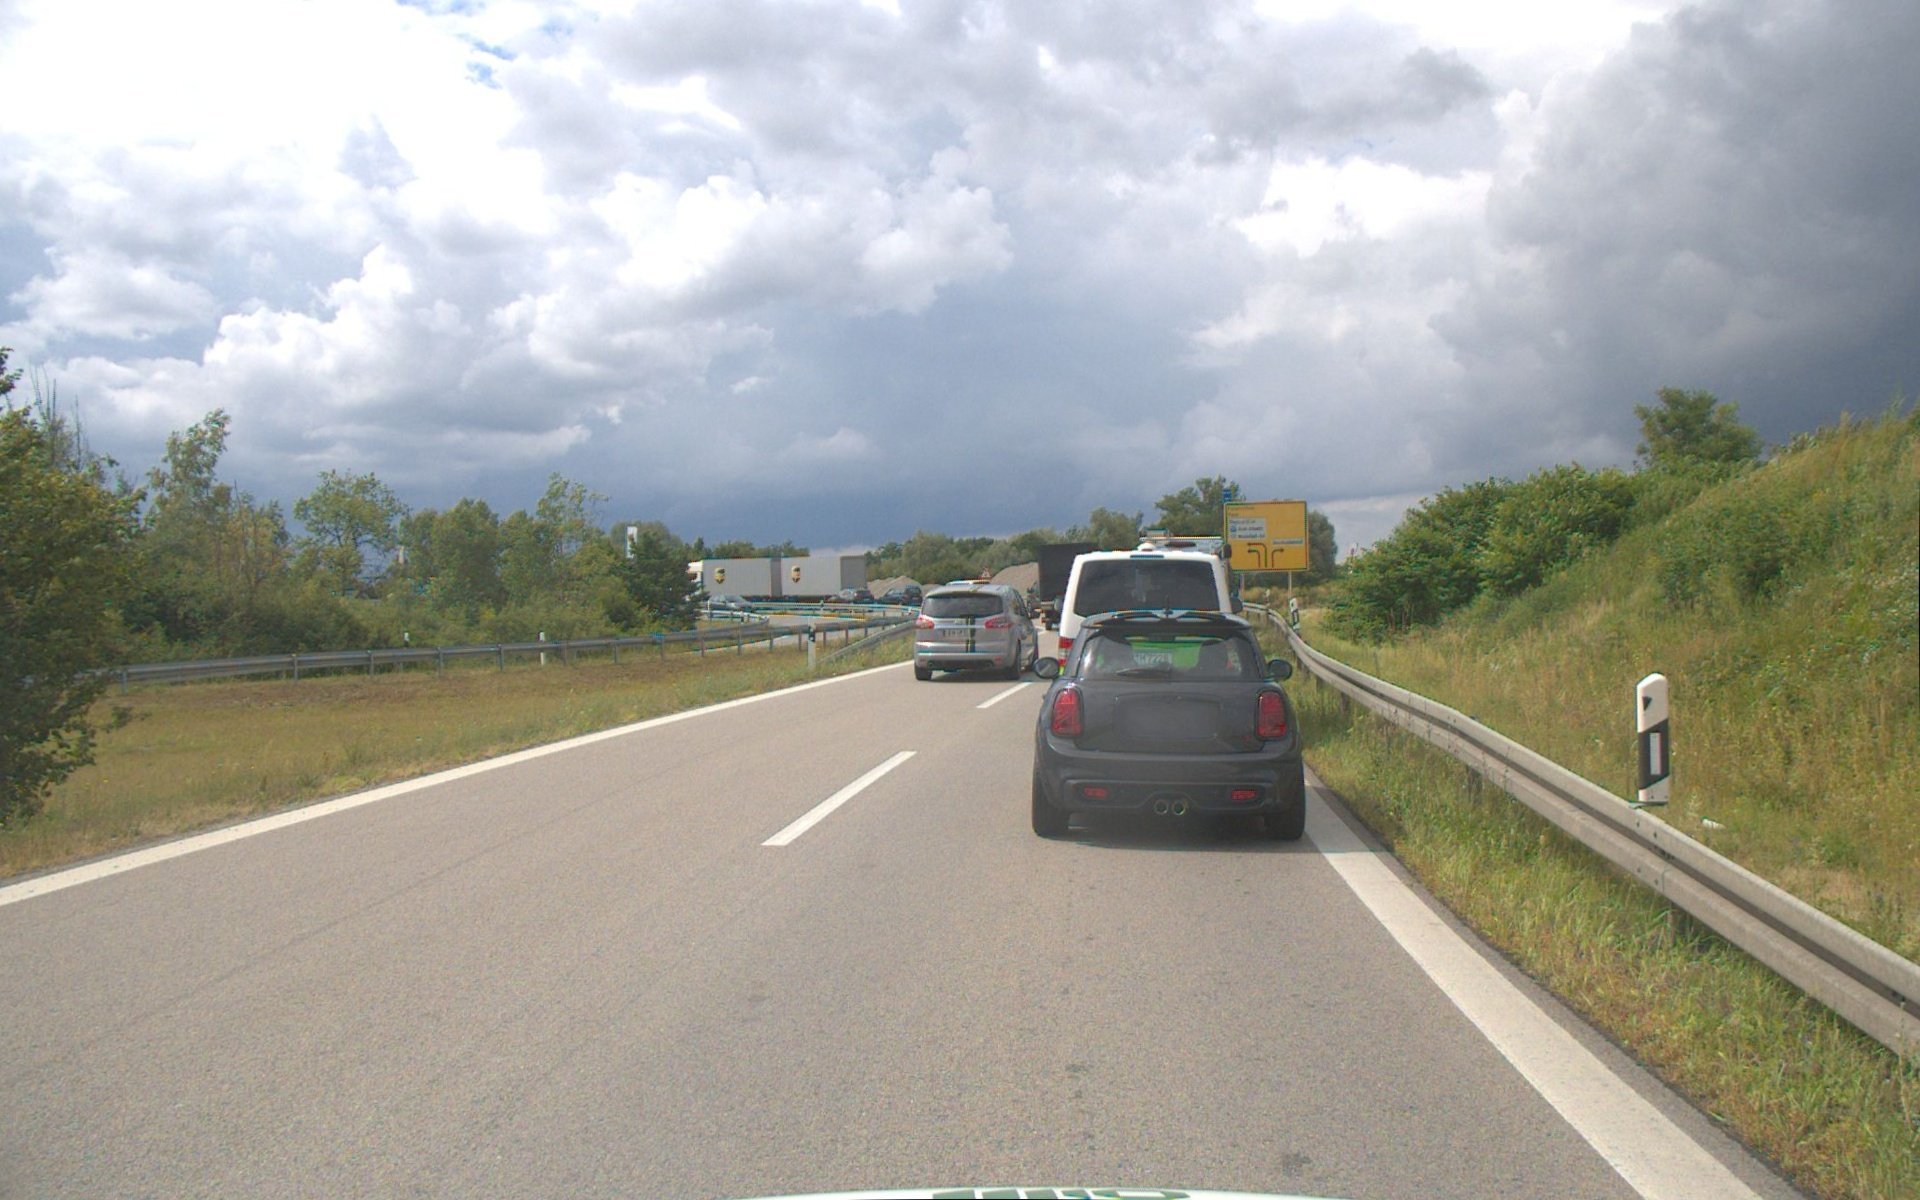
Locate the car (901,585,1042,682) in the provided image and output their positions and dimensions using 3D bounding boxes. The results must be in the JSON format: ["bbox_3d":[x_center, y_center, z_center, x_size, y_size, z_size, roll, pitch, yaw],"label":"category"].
[{"bbox_3d":[0.302,0.588,29.942,1.978,1.605,4.590,-1,-1,7],"label":"car"}]

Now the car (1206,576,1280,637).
[{"bbox_3d":[8.183,0.217,48.091,1.951,1.671,3.931,1,-1,8],"label":"car"}]

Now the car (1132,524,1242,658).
[{"bbox_3d":[4.948,-0.146,36.131,2.164,2.668,5.538,1,-1,8],"label":"car"}]

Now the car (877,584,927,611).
[{"bbox_3d":[-4.193,-0.181,119.337,1.899,1.870,4.278,2,-1,-28],"label":"car"}]

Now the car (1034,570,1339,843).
[{"bbox_3d":[1.462,0.623,11.549,1.762,1.573,3.740,1,0,4],"label":"car"}]

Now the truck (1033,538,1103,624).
[{"bbox_3d":[4.248,-0.672,66.239,2.507,3.223,7.469,1,-1,2],"label":"truck"}]

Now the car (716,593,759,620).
[{"bbox_3d":[-14.639,0.447,108.677,1.737,1.621,3.970,-2,-1,-24],"label":"car"}]

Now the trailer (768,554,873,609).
[{"bbox_3d":[-10.600,-1.345,125.065,8.623,3.966,3.025,0,-1,44],"label":"trailer"}]

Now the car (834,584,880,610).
[{"bbox_3d":[-7.312,-0.171,117.260,1.791,1.786,3.964,2,-1,-28],"label":"car"}]

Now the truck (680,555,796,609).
[{"bbox_3d":[-17.607,-1.401,130.959,9.828,4.046,2.835,0,-1,36],"label":"truck"}]

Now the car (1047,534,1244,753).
[{"bbox_3d":[2.034,0.428,17.956,1.870,2.081,4.184,0,0,7],"label":"car"}]

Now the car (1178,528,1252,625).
[{"bbox_3d":[8.897,-0.710,57.238,2.261,3.122,6.667,1,-1,11],"label":"car"}]
